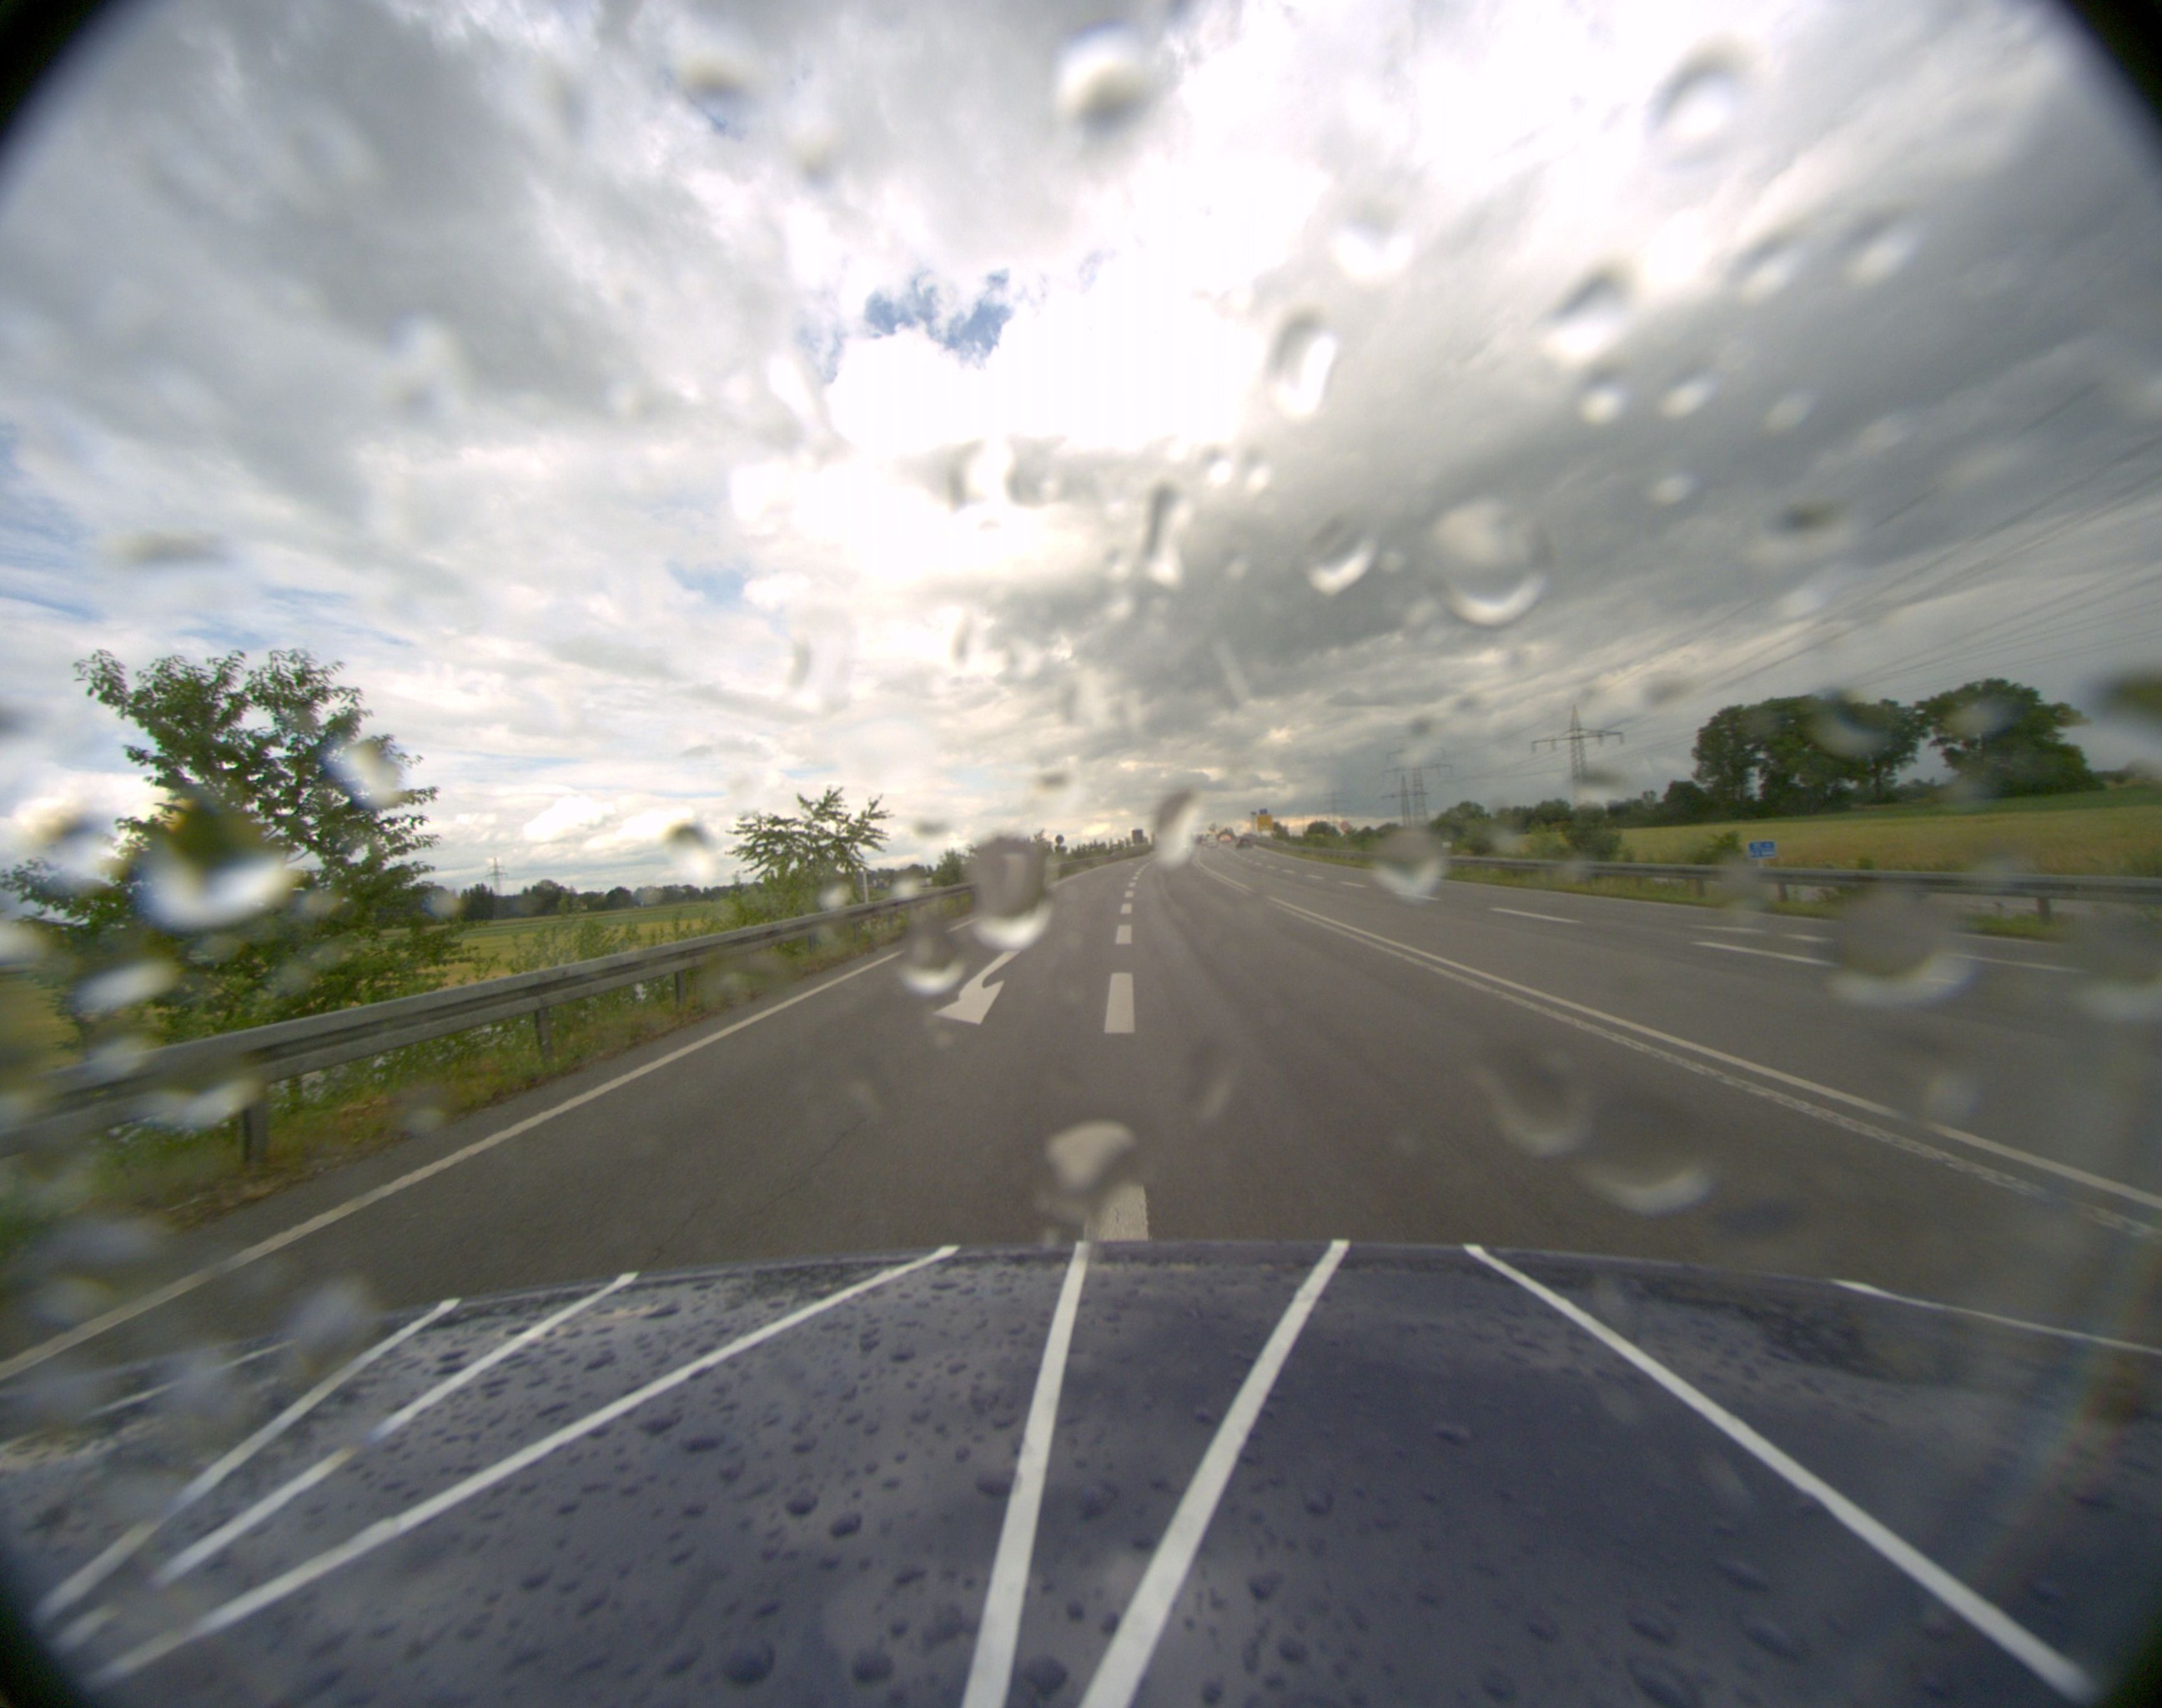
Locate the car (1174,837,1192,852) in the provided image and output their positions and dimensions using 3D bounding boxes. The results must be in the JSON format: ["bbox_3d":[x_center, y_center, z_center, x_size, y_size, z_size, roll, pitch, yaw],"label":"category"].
[{"bbox_3d":[12.975,-1.223,96.526,1.794,1.758,4.004,-4,-1,13],"label":"car"}]

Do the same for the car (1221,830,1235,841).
[{"bbox_3d":[27.607,-3.496,142.497,1.946,1.651,4.649,-5,2,17],"label":"car"}]

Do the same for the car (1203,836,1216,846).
[{"bbox_3d":[22.435,-2.254,132.919,1.769,1.491,4.213,-3,1,15],"label":"car"}]

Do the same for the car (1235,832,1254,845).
[{"bbox_3d":[19.901,-1.942,92.583,1.899,1.433,4.902,-3,1,8],"label":"car"}]

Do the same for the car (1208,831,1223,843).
[{"bbox_3d":[19.527,-2.437,110.497,1.792,1.656,4.373,-1,2,14],"label":"car"}]
